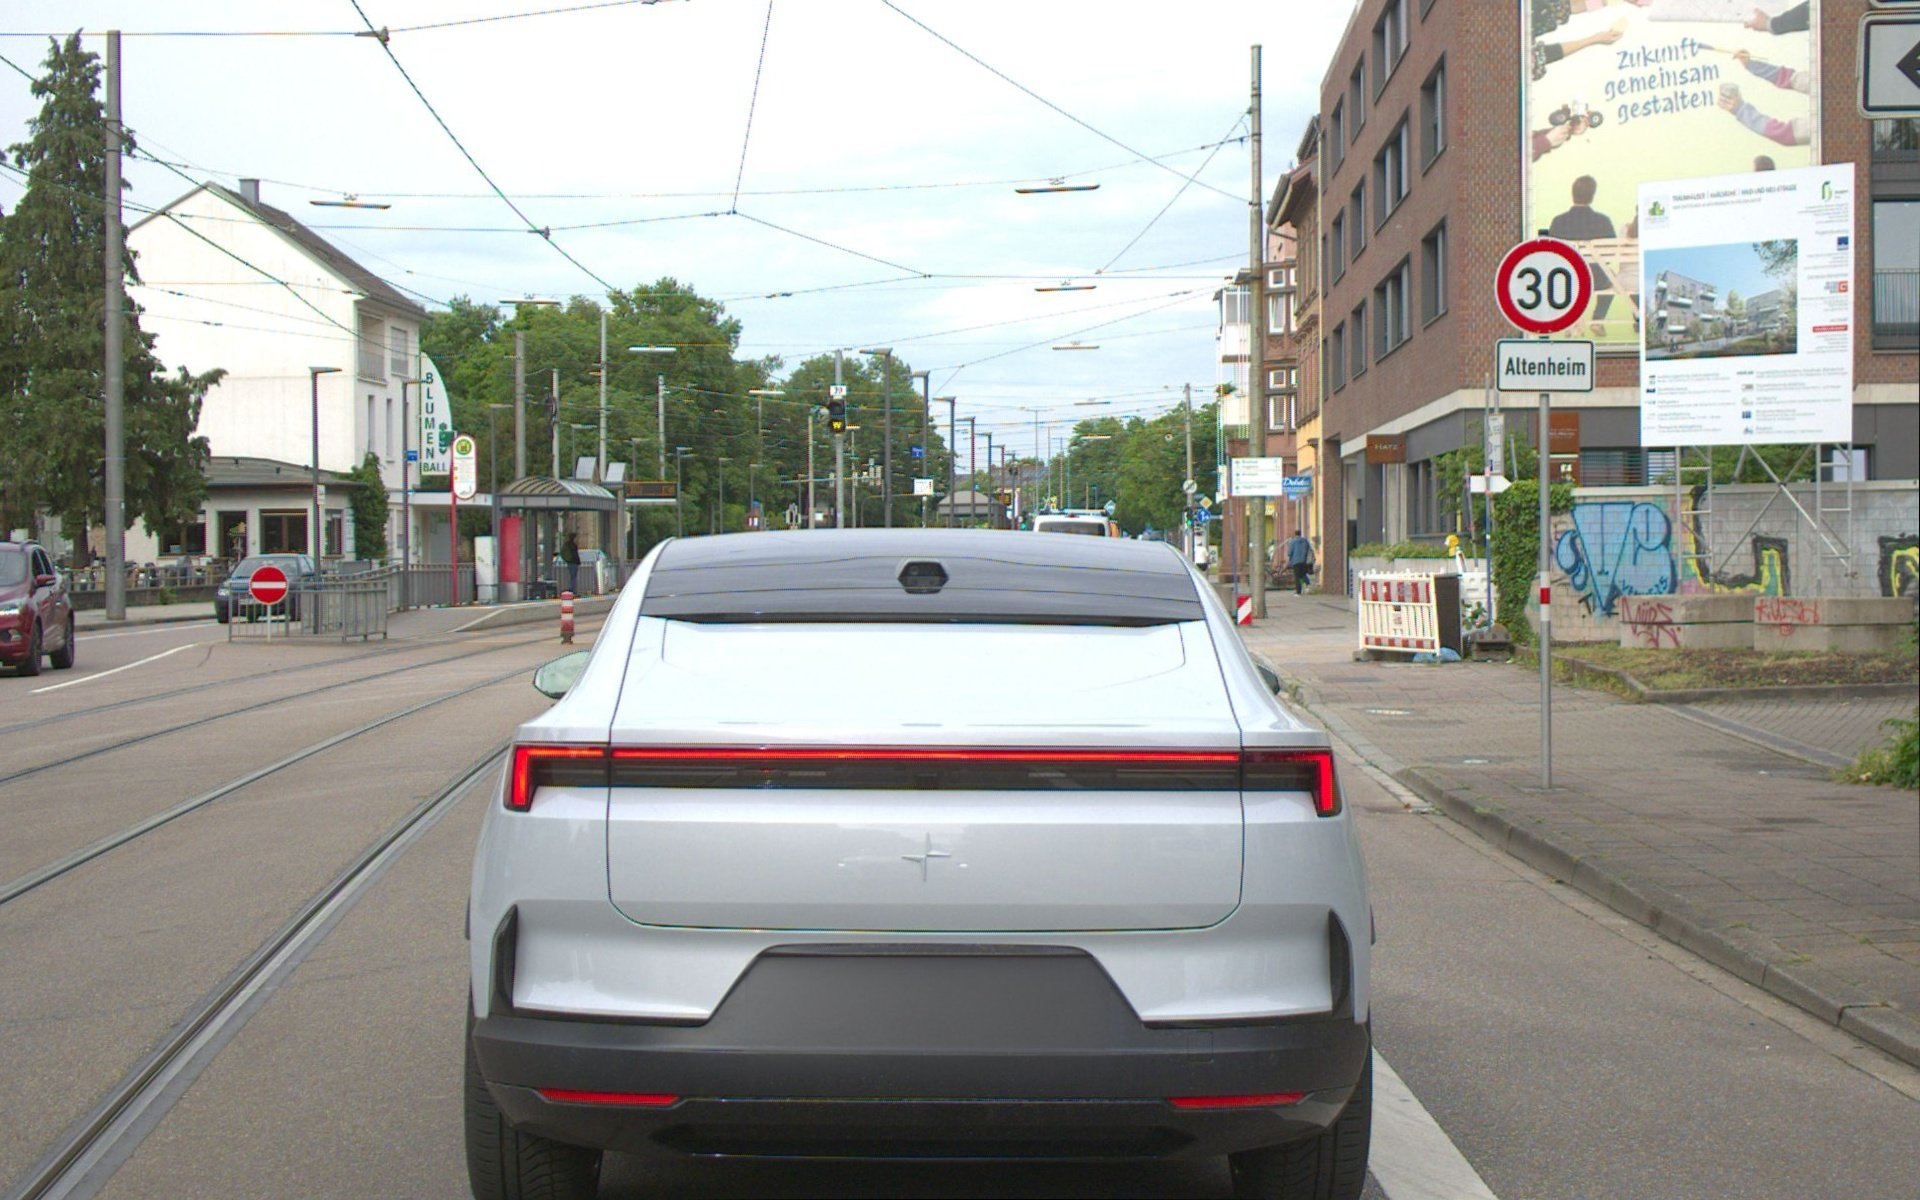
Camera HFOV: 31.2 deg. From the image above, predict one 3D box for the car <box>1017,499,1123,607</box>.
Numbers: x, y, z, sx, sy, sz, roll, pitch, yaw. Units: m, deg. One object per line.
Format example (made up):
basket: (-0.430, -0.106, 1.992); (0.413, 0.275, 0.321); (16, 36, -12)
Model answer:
car: (2.517, -1.086, 79.892); (2.226, 2.394, 5.123); (1, 1, -1)

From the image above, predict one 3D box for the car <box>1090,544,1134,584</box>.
car: (7.760, -1.828, 175.424); (1.993, 2.007, 4.000); (1, 1, -1)

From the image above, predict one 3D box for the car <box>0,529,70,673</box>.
car: (-12.348, -0.010, 43.006); (1.842, 1.718, 4.409); (0, 1, -8)

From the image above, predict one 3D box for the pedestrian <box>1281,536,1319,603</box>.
pedestrian: (9.671, -0.862, 97.822); (0.961, 1.843, 0.975); (-2, 1, 9)

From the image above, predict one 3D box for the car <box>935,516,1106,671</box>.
car: (0.701, -0.116, 42.807); (1.993, 1.809, 4.000); (-1, 1, -1)

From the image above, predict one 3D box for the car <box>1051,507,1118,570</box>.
car: (4.052, -1.999, 112.678); (1.993, 2.007, 4.000); (1, 1, 0)

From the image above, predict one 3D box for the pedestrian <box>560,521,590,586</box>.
pedestrian: (-9.806, -1.181, 87.508); (0.615, 1.659, 0.697); (1, 0, 5)

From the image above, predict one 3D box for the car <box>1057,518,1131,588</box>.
car: (3.968, -1.401, 102.614); (1.993, 2.007, 4.000); (1, 1, 0)

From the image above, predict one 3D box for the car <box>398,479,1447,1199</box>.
car: (-0.130, 0.553, 8.606); (1.999, 1.575, 4.000); (1, 0, -2)

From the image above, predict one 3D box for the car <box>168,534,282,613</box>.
car: (-15.353, -0.564, 72.003); (1.790, 1.525, 4.142); (-2, 1, -5)

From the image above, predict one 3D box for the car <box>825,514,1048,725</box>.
car: (-0.143, 0.136, 29.577); (1.681, 1.682, 3.823); (1, 1, 3)
